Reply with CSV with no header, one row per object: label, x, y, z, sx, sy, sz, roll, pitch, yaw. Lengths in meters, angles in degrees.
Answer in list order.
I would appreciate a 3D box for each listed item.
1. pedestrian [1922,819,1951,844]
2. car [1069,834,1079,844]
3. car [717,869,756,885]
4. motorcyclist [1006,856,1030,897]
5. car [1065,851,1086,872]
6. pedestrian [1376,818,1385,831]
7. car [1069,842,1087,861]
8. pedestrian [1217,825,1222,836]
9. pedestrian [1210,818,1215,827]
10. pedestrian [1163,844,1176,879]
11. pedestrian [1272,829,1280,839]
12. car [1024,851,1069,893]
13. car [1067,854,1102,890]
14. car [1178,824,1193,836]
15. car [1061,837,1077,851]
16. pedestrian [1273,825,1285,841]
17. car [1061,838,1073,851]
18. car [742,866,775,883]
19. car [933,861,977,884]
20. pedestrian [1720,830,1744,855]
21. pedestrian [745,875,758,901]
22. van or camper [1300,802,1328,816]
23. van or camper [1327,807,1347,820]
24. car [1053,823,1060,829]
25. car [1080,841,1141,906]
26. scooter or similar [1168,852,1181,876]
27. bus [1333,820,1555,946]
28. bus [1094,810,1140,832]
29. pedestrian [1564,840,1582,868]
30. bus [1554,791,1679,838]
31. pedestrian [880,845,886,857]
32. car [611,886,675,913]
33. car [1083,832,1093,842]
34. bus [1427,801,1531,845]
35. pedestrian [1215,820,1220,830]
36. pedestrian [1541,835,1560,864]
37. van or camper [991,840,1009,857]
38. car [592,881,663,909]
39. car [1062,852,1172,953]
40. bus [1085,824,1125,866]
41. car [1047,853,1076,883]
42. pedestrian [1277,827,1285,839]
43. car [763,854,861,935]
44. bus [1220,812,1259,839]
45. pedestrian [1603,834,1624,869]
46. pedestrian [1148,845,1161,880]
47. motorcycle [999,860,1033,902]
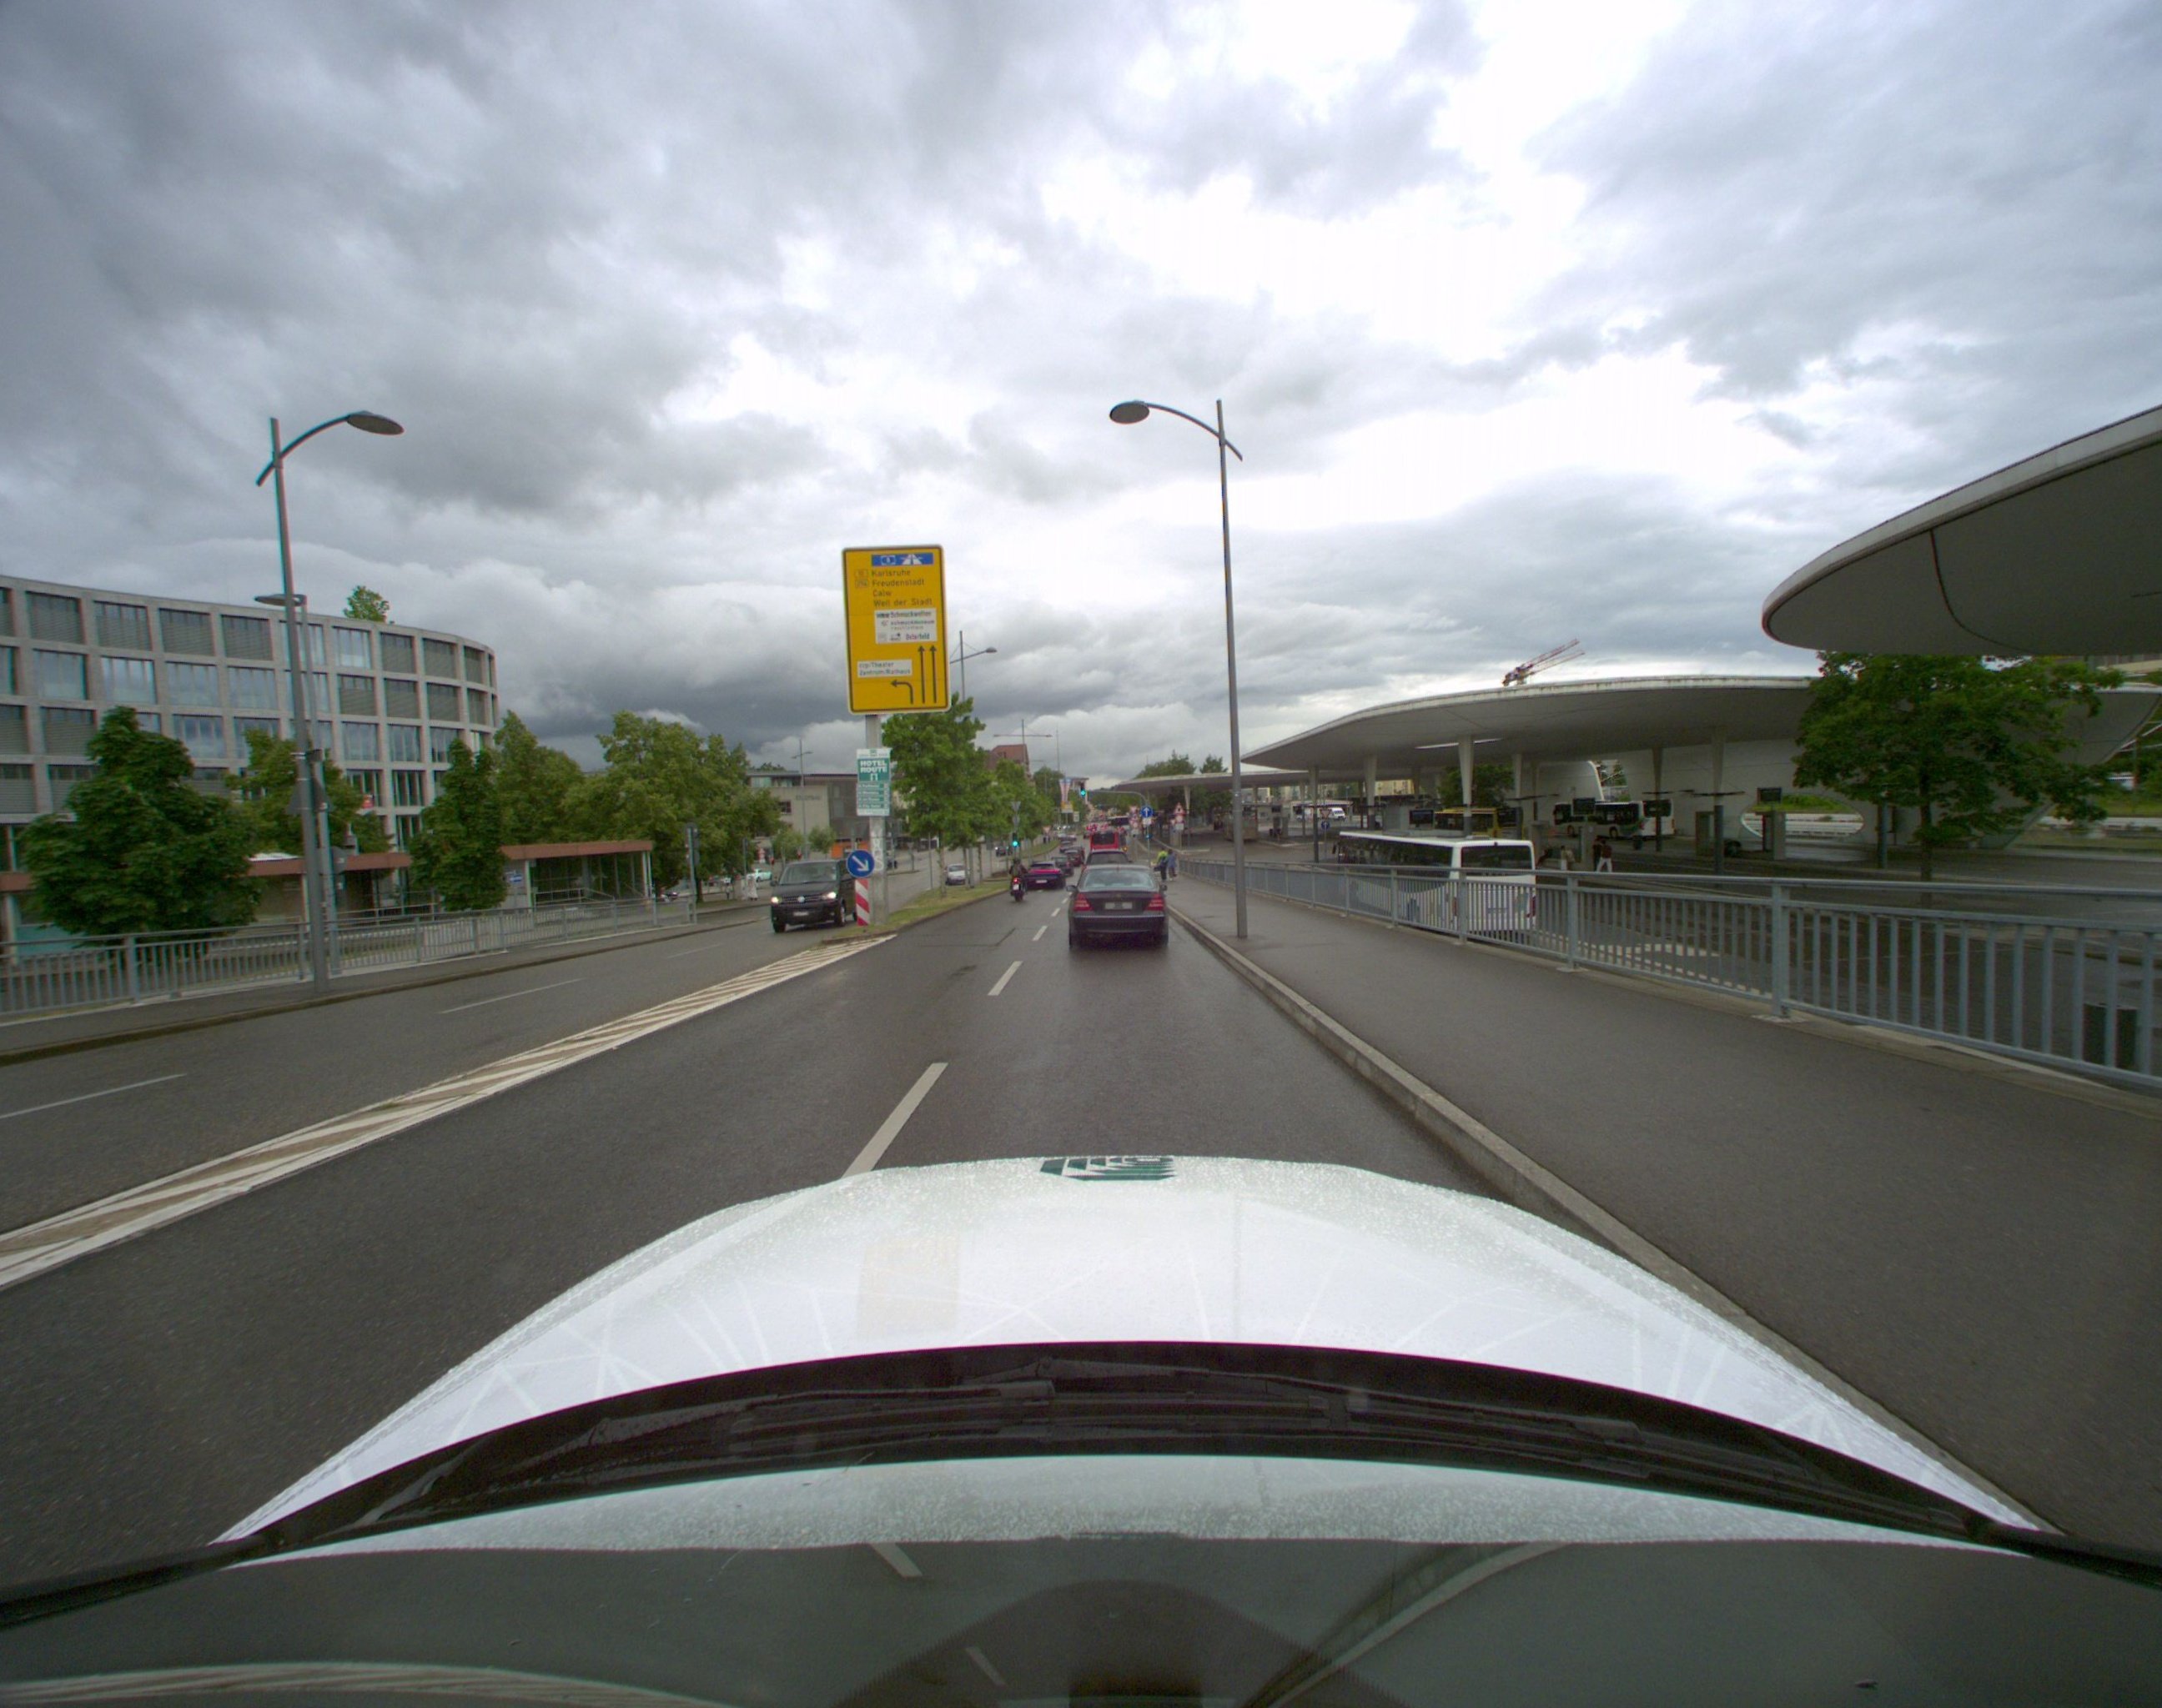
pedestrian,46.252,-1.215,44.044,0.706,1.325,0.802,0,-1,4
car,-1.205,-2.641,143.244,1.635,1.804,3.641,0,-1,2
car,-41.404,2.759,97.815,1.743,1.495,3.813,-2,3,40
motorcyclist,-2.241,0.796,29.143,0.638,1.347,0.690,-4,3,5
car,-0.456,0.691,74.359,1.569,1.504,3.875,-6,3,3
pedestrian,37.221,-3.631,101.173,0.793,1.585,0.907,-2,2,-5
car,-0.311,-0.298,85.914,1.570,1.566,3.874,-6,3,2
pedestrian,21.833,-3.705,128.192,0.559,1.691,0.613,-3,3,-5
pedestrian,22.294,-5.336,137.938,0.573,1.578,0.565,-1,-1,31
pedestrian,4.322,0.355,39.751,0.587,1.670,0.580,-1,-2,1
pedestrian,24.295,-2.500,101.575,0.786,1.226,0.637,-3,3,19
car,-1.648,0.843,40.345,1.809,1.570,4.407,-6,3,2
car,0.237,0.998,46.885,1.735,1.566,3.874,-6,3,2
car,16.290,-3.778,126.963,1.706,1.661,4.241,-3,3,1
car,-1.560,-1.299,106.897,1.859,1.684,4.001,-1,0,1
pedestrian,22.036,-2.380,90.586,0.721,1.683,1.013,-7,3,-24
car,-2.196,-1.531,128.921,1.791,1.907,3.641,0,-1,2
car,-37.280,2.378,94.201,1.615,1.495,3.599,-3,3,17
car,-9.018,1.333,58.188,1.643,1.448,3.836,-6,2,-32
pedestrian,35.295,-0.619,44.145,0.705,1.325,0.803,0,-1,9
pedestrian,-21.009,2.173,51.939,0.654,1.570,0.626,-5,0,-24
van or camper,43.918,-8.494,153.594,4.592,2.557,2.119,-1,1,0
van or camper,46.246,-7.356,147.186,1.986,2.102,5.482,-1,1,1
car,-6.743,-7.729,224.809,1.773,1.566,3.432,-6,3,2
car,1.115,0.655,30.928,1.950,1.875,4.877,-6,3,2
scooter or similar,5.072,0.545,44.313,0.462,1.221,1.860,-4,-1,1
bus,12.521,0.602,30.031,2.834,3.360,12.433,0,4,1
bus,7.681,-7.016,174.966,2.861,3.986,11.729,-6,3,-37
pedestrian,25.665,-0.025,42.456,0.566,1.393,0.558,-4,3,7
bus,43.349,-3.321,66.604,2.457,3.256,11.979,-5,3,2
pedestrian,-28.486,-0.423,117.054,0.471,1.683,0.765,-4,3,8
car,-33.410,3.463,62.178,1.706,1.567,3.862,-2,3,44
car,1.287,-3.085,149.734,1.859,1.684,4.001,-1,0,1
bus,33.415,-2.802,69.072,2.779,3.256,12.143,-4,4,0
pedestrian,23.179,-4.954,138.050,0.573,1.716,0.565,-1,-1,36
pedestrian,25.830,-0.256,44.815,0.587,1.589,0.677,0,-1,-3
van or camper,-11.350,-0.796,114.384,2.215,2.072,5.270,-5,0,-7
car,-32.889,2.935,59.074,1.706,1.507,4.081,-2,3,44
car,0.624,0.762,15.066,1.691,1.462,4.305,-2,1,1
bus,2.381,-0.962,78.316,3.273,3.290,10.888,-5,3,3
car,-1.338,0.939,57.353,1.670,1.622,3.874,-6,3,2
pedestrian,24.361,-2.559,98.995,0.786,1.377,0.637,-3,3,19
car,-7.686,1.099,23.717,1.845,1.967,4.669,-5,0,-10
bus,19.707,-3.656,101.995,2.711,3.042,12.097,-5,3,2
pedestrian,25.587,-0.115,39.137,0.646,1.654,0.632,-6,3,-39
pedestrian,3.592,0.397,39.958,0.520,1.670,0.580,-2,0,1
motorcycle,-2.283,0.934,28.955,0.789,1.261,1.858,-5,3,5
